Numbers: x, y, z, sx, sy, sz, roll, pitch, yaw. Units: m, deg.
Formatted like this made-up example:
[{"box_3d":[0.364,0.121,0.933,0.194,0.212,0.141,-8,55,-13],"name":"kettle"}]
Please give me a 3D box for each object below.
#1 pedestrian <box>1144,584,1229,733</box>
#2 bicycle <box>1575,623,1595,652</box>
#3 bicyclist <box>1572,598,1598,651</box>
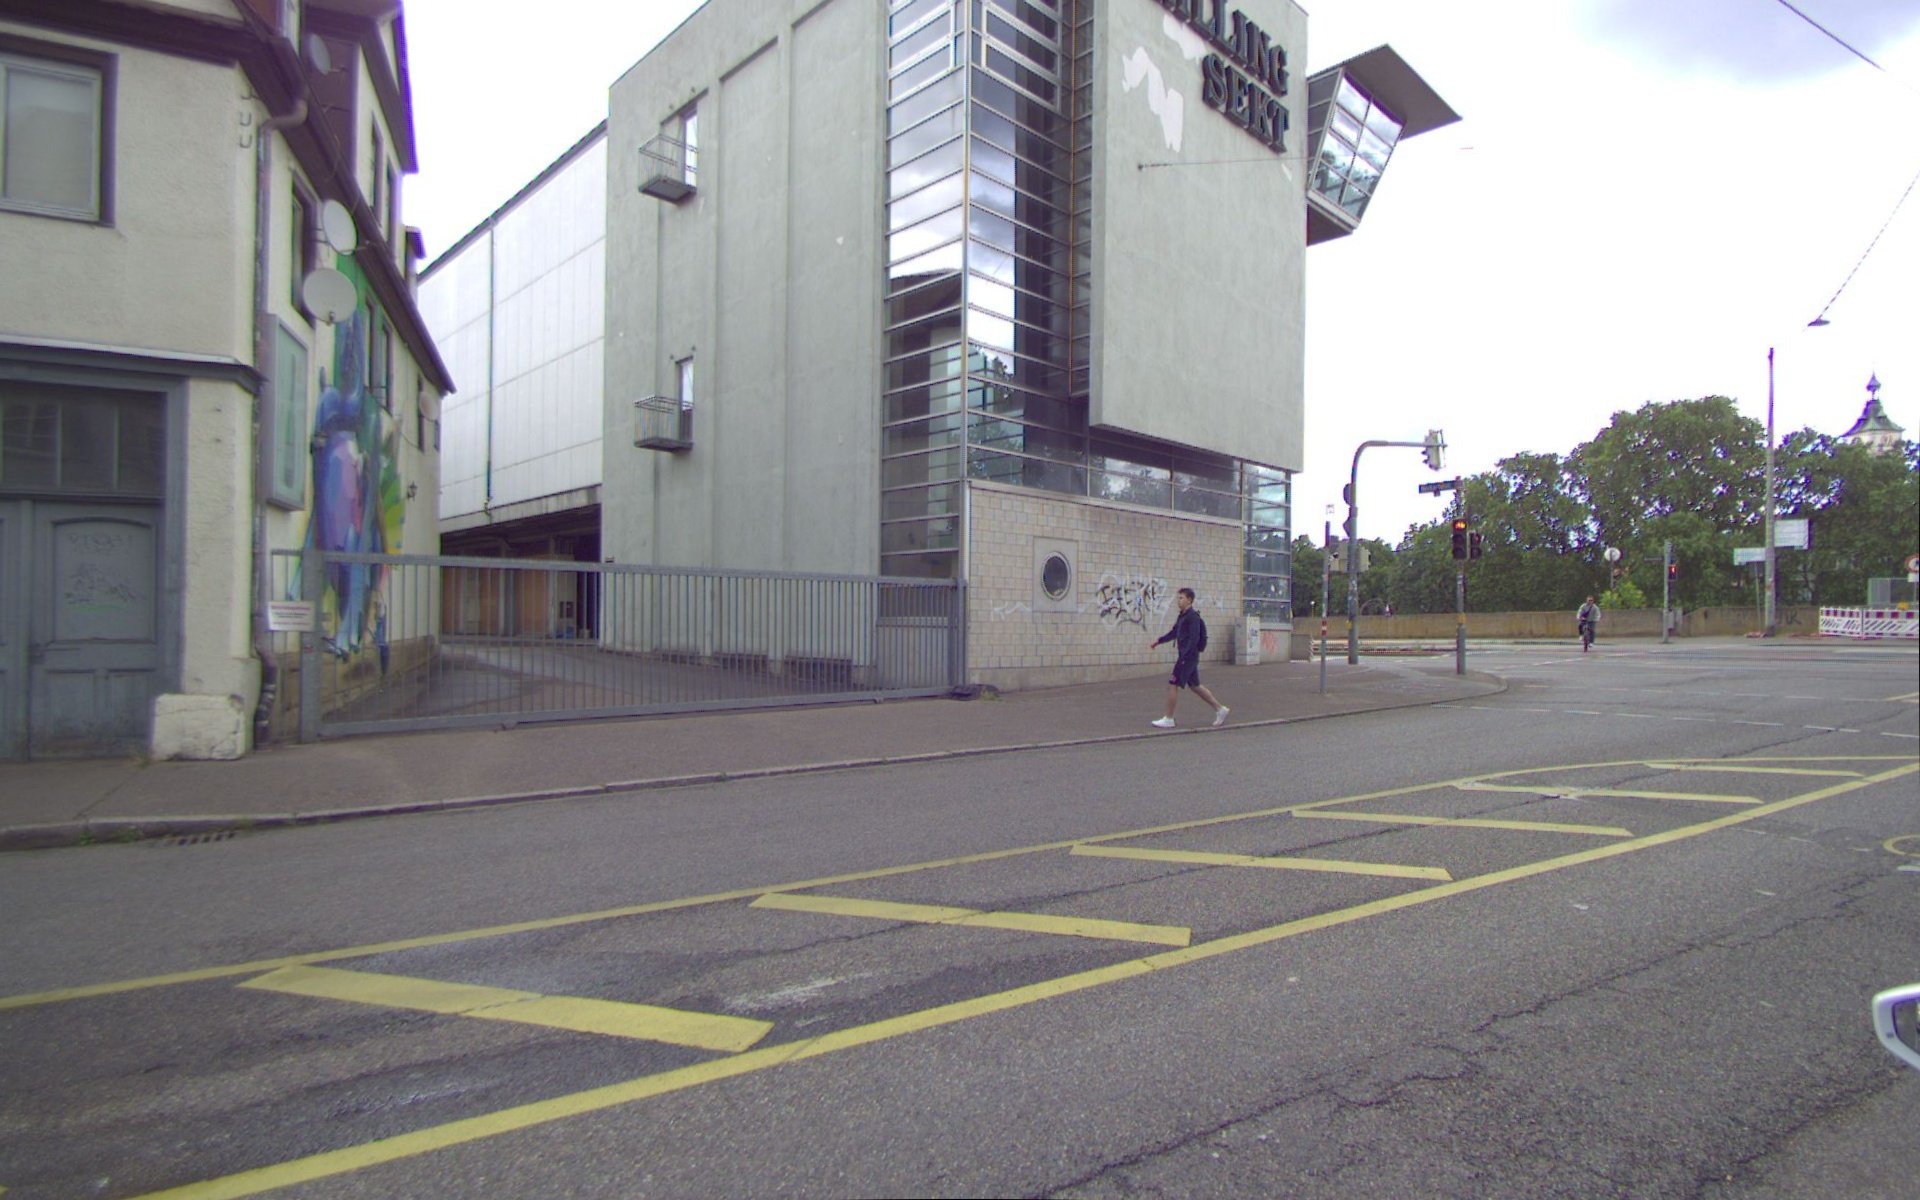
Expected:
[{"box_3d":[3.020,0.746,13.515,1.069,1.911,1.058,0,1,10],"name":"pedestrian"},{"box_3d":[20.565,1.219,33.061,0.533,0.904,1.876,0,-1,31],"name":"bicycle"},{"box_3d":[20.571,0.798,33.075,0.713,1.723,0.809,0,-1,32],"name":"bicyclist"}]
